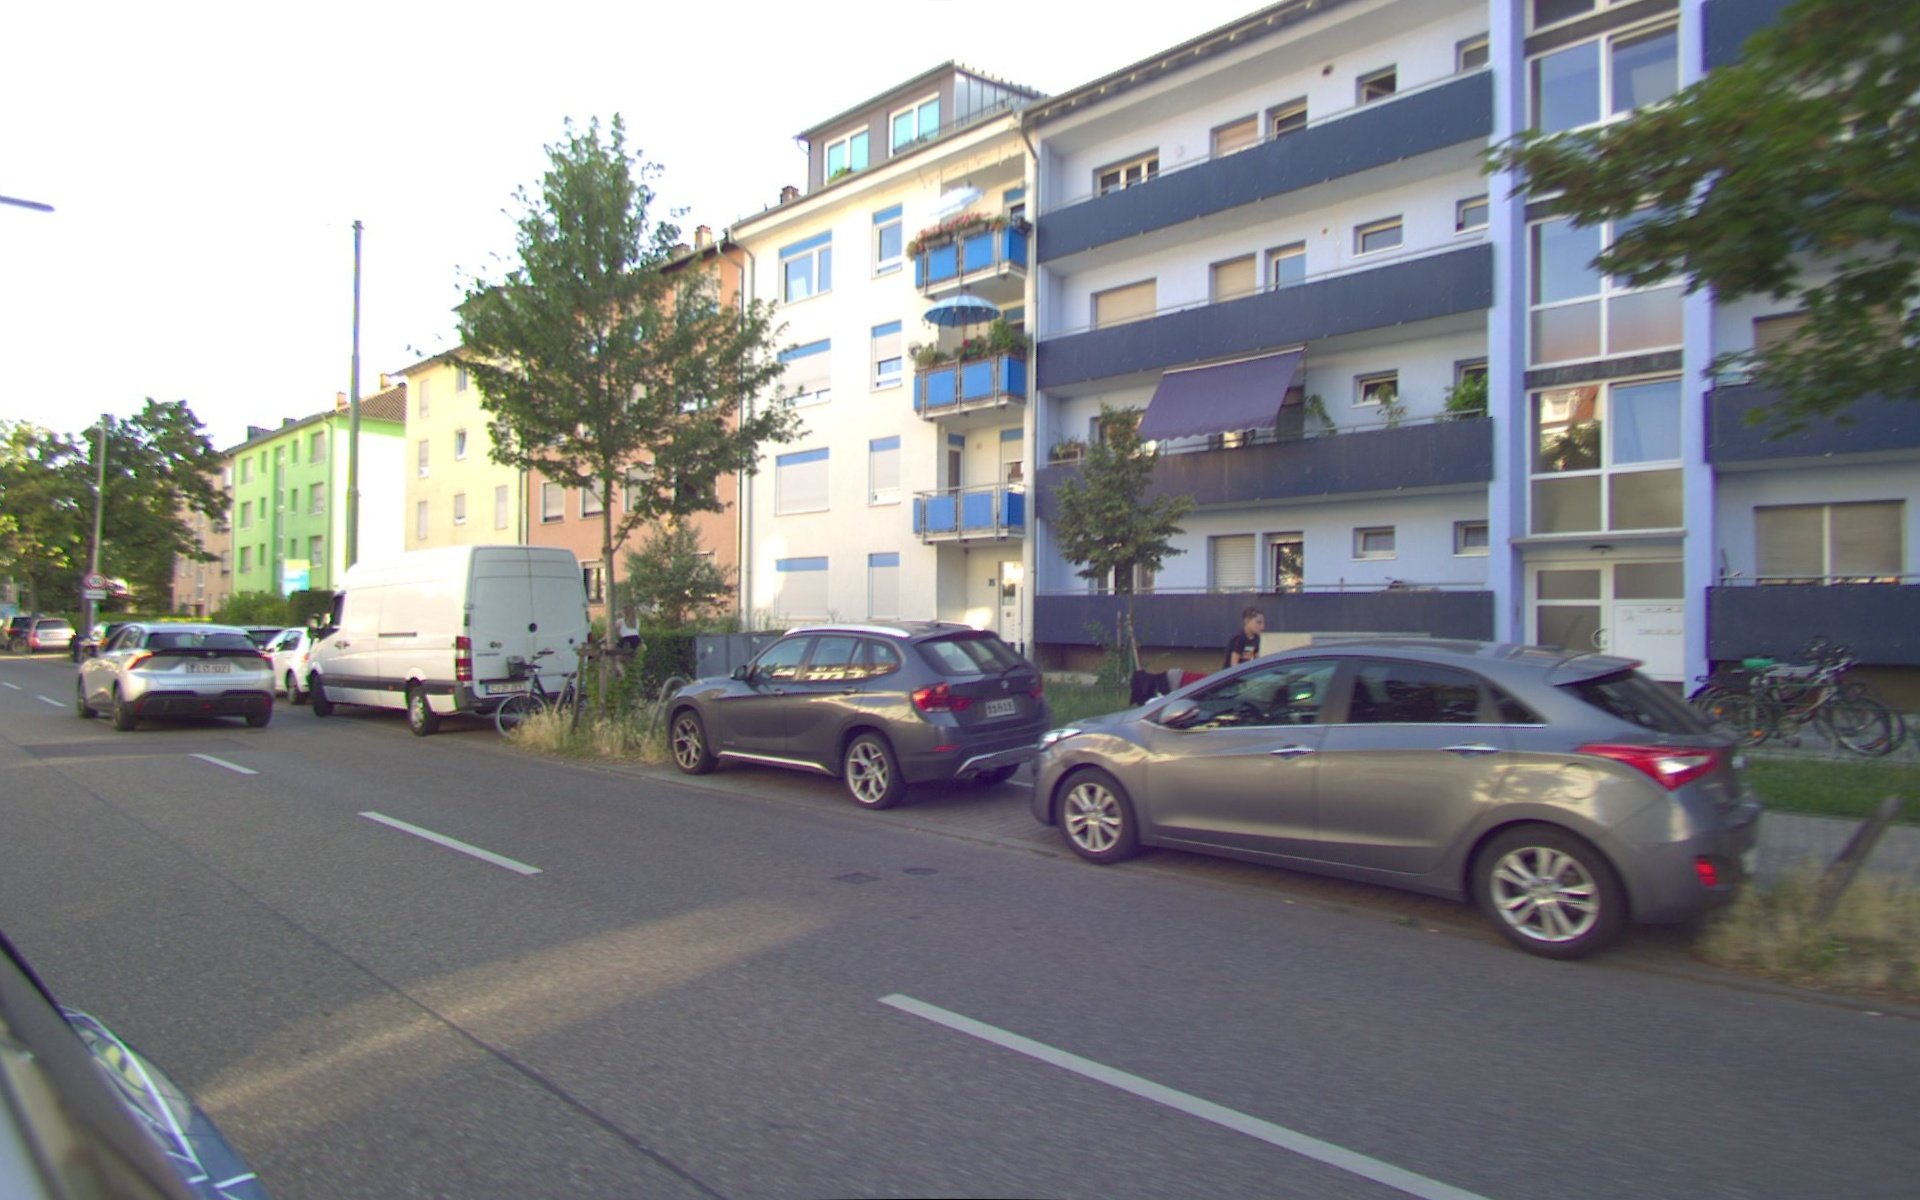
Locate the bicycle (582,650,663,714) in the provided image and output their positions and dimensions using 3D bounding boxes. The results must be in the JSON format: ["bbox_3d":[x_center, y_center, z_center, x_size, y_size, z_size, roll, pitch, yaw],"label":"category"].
[{"bbox_3d":[-5.882,1.392,17.584,0.613,1.022,1.955,2,-2,-41],"label":"bicycle"}]

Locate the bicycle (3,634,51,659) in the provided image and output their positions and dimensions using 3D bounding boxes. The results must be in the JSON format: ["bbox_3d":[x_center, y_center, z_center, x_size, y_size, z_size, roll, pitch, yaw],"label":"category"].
[{"bbox_3d":[-44.310,2.186,48.074,0.560,1.097,1.657,-2,-1,43],"label":"bicycle"}]

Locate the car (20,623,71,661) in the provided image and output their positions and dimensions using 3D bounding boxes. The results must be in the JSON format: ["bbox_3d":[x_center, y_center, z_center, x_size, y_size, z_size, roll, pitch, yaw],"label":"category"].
[{"bbox_3d":[-40.338,1.812,44.602,2.862,1.629,1.482,-1,-2,44],"label":"car"}]

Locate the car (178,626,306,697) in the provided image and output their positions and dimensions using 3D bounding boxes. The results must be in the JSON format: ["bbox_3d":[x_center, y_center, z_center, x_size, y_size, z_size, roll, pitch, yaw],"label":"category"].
[{"bbox_3d":[-16.954,1.376,23.854,3.811,1.484,1.595,-1,0,41],"label":"car"}]

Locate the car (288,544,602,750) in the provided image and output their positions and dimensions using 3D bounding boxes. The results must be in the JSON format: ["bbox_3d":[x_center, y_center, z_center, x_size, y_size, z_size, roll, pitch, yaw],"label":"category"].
[{"bbox_3d":[-8.434,0.652,16.089,7.102,2.636,1.973,-1,-1,41],"label":"car"}]

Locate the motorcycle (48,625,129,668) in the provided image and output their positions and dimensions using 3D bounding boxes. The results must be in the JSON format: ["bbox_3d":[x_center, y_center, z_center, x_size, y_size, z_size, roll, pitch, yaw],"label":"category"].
[{"bbox_3d":[-30.723,1.632,35.728,0.979,1.399,2.022,0,1,9],"label":"motorcycle"}]

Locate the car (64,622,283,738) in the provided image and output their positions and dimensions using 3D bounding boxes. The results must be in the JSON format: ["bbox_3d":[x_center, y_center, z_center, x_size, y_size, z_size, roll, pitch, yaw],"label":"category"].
[{"bbox_3d":[-11.863,1.116,15.181,3.968,1.506,1.763,-1,-4,40],"label":"car"}]

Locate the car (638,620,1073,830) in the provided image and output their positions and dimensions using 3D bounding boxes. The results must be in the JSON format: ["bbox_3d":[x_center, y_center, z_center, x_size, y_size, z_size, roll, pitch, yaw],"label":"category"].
[{"bbox_3d":[-1.208,0.992,9.794,4.473,1.554,1.654,-1,-1,43],"label":"car"}]

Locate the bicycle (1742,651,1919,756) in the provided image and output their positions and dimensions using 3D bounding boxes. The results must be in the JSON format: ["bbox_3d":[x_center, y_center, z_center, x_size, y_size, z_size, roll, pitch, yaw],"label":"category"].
[{"bbox_3d":[9.385,1.076,10.818,1.574,1.022,0.433,-1,-3,43],"label":"bicycle"}]

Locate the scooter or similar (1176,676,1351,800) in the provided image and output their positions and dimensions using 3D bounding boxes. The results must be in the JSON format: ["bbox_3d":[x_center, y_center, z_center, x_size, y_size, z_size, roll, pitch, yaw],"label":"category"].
[{"bbox_3d":[2.877,1.281,9.716,0.458,1.022,1.590,2,-3,-44],"label":"scooter or similar"}]

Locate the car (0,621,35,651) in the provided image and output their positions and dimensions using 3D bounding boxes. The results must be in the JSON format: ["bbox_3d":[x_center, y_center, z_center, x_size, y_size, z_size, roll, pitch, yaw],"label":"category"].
[{"bbox_3d":[-50.760,1.881,53.889,4.187,1.532,1.665,-1,-2,40],"label":"car"}]

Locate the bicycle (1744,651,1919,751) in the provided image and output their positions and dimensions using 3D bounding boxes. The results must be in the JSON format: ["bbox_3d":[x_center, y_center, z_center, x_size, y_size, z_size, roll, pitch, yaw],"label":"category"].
[{"bbox_3d":[9.742,1.098,11.340,1.477,1.022,0.433,-1,-3,43],"label":"bicycle"}]

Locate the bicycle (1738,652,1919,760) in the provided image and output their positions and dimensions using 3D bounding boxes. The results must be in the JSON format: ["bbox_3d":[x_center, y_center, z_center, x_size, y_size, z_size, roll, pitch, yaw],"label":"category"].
[{"bbox_3d":[9.046,1.072,10.514,1.477,1.022,0.433,-1,-3,43],"label":"bicycle"}]

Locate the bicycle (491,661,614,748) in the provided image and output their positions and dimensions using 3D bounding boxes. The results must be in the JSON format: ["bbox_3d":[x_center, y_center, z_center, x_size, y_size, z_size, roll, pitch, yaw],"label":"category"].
[{"bbox_3d":[-5.418,1.362,13.495,1.454,1.022,0.440,0,-1,-42],"label":"bicycle"}]

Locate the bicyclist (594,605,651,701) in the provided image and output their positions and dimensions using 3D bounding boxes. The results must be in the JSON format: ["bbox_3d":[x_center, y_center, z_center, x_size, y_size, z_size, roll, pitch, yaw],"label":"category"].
[{"bbox_3d":[-5.860,0.908,17.575,0.596,1.605,0.941,2,-2,-41],"label":"bicyclist"}]

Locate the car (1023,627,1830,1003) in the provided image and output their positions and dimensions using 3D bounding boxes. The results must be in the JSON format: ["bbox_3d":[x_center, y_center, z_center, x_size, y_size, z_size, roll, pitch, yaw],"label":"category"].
[{"bbox_3d":[2.501,0.926,6.149,4.144,1.495,1.674,-1,-2,44],"label":"car"}]

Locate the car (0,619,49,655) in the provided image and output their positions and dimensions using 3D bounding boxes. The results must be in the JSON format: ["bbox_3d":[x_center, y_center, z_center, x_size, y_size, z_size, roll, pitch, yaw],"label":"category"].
[{"bbox_3d":[-46.987,1.827,50.531,4.616,1.746,1.765,-1,-2,42],"label":"car"}]

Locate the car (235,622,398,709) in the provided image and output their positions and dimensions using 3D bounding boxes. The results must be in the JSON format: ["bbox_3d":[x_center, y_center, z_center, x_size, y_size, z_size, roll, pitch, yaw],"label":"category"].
[{"bbox_3d":[-13.020,1.236,20.401,4.057,1.503,1.689,-1,1,41],"label":"car"}]

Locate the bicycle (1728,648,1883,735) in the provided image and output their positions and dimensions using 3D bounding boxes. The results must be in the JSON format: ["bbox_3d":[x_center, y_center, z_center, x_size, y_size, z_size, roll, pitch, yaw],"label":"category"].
[{"bbox_3d":[10.698,1.130,12.844,1.477,1.022,0.433,-1,-3,43],"label":"bicycle"}]

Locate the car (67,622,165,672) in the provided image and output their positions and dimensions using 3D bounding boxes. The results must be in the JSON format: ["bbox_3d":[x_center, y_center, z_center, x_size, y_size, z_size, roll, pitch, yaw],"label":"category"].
[{"bbox_3d":[-27.722,1.488,33.193,4.586,1.516,1.760,-1,-1,41],"label":"car"}]

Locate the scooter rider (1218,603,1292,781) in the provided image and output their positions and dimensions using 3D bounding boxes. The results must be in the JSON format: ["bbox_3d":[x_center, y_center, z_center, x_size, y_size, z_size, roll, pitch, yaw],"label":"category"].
[{"bbox_3d":[2.845,0.864,9.765,0.458,1.643,0.535,2,-3,-45],"label":"scooter rider"}]

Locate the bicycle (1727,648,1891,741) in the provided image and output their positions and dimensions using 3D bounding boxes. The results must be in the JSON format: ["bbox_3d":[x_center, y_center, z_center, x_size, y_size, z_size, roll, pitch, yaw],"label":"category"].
[{"bbox_3d":[10.191,1.108,12.187,1.481,1.022,0.433,-1,-3,43],"label":"bicycle"}]
